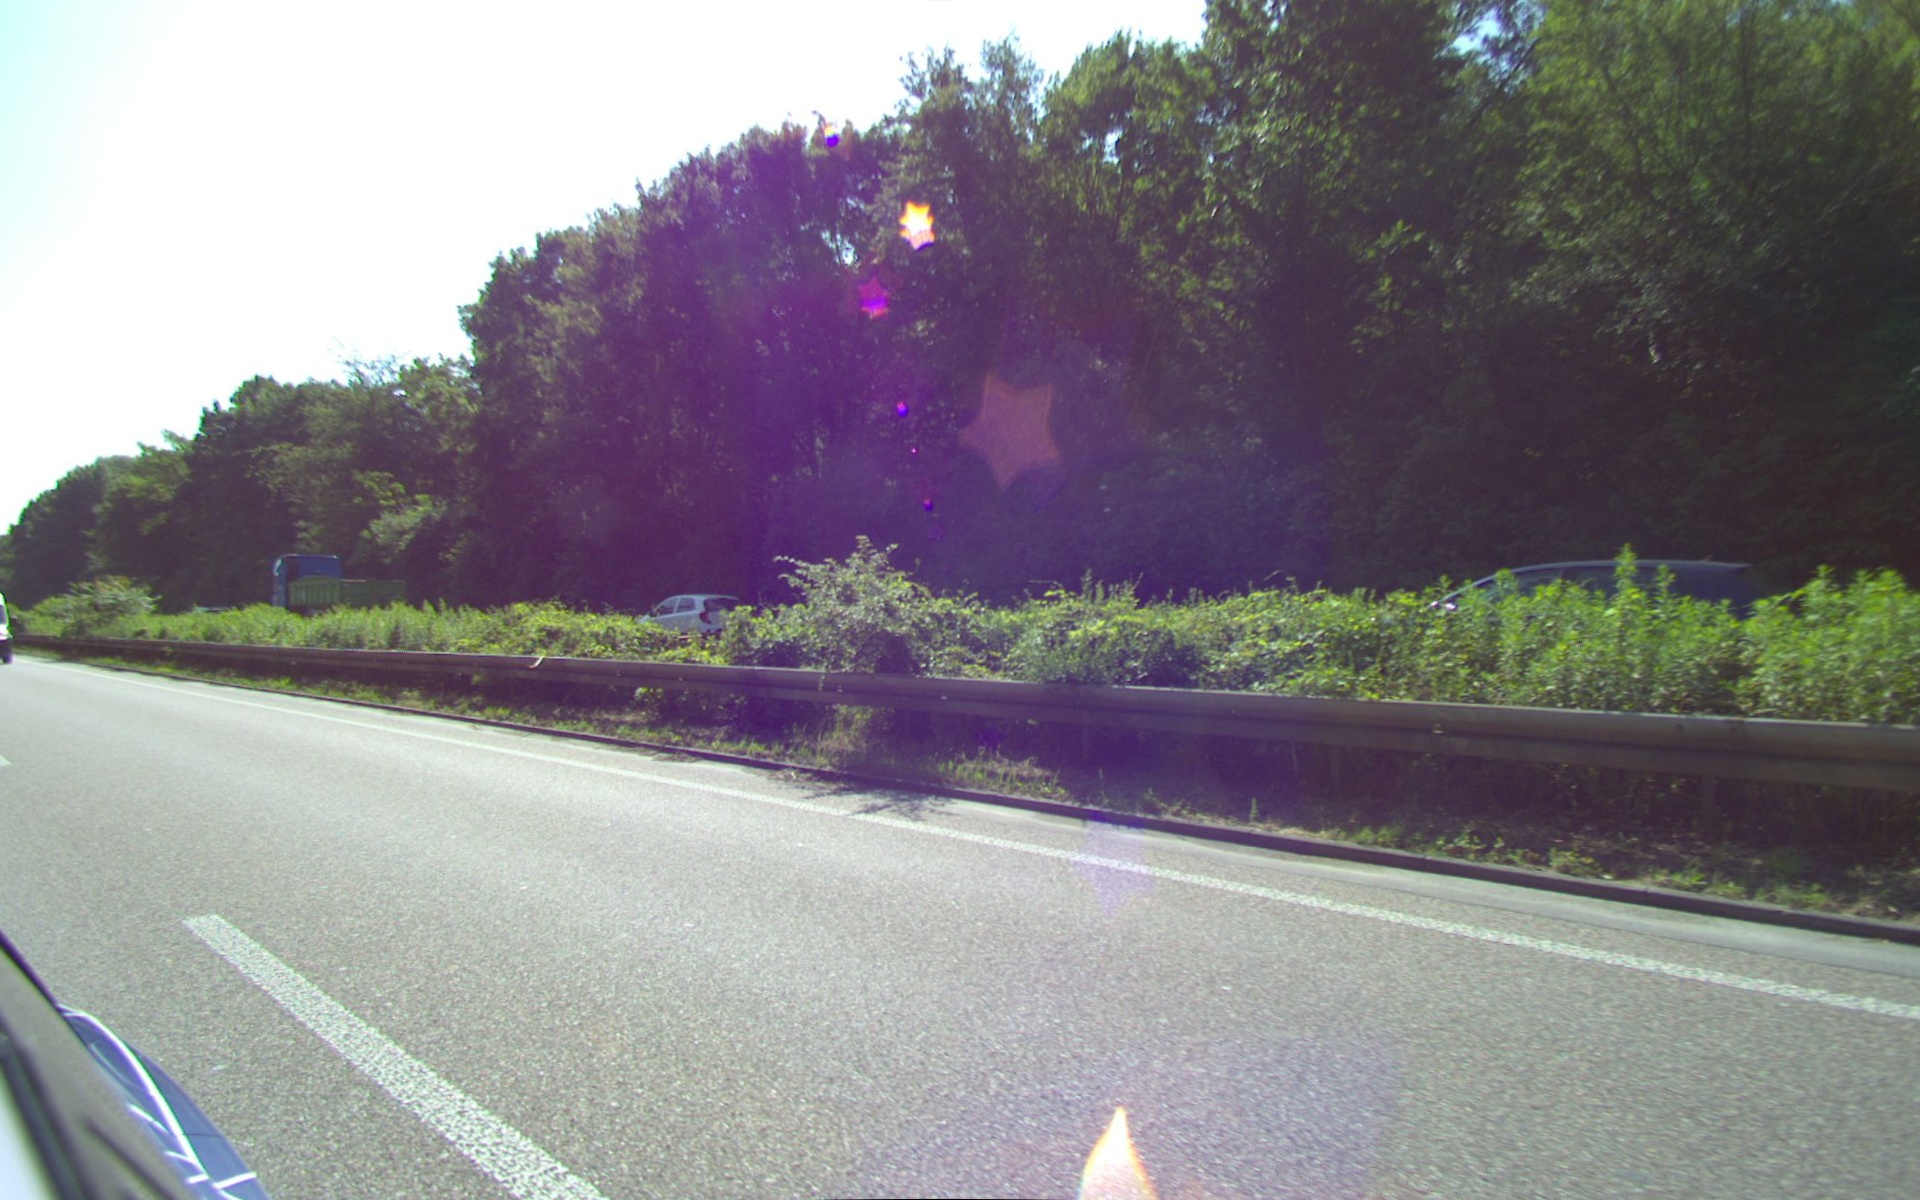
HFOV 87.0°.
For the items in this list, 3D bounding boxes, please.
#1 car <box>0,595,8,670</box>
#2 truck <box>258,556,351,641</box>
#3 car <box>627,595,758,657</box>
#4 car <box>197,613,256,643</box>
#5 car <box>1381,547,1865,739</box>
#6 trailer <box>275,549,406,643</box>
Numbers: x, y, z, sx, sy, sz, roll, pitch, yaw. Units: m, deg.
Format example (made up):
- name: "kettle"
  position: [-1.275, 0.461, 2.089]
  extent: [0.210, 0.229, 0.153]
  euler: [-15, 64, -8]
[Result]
- name: "car"
  position: [-33.735, 1.117, 34.059]
  extent: [4.635, 2.462, 2.020]
  euler: [-1, 0, 41]
- name: "truck"
  position: [-30.380, -0.046, 46.904]
  extent: [3.999, 3.734, 2.618]
  euler: [-1, 0, 42]
- name: "car"
  position: [-7.081, 0.661, 26.595]
  extent: [3.623, 1.484, 1.654]
  euler: [-1, 0, 43]
- name: "car"
  position: [-42.262, 1.641, 58.268]
  extent: [4.710, 1.674, 1.675]
  euler: [-2, -3, 41]
- name: "car"
  position: [6.188, 0.351, 9.675]
  extent: [3.623, 1.484, 1.654]
  euler: [-1, 0, 43]
- name: "trailer"
  position: [-26.961, -0.103, 43.853]
  extent: [7.982, 3.740, 2.660]
  euler: [-1, 0, 42]
